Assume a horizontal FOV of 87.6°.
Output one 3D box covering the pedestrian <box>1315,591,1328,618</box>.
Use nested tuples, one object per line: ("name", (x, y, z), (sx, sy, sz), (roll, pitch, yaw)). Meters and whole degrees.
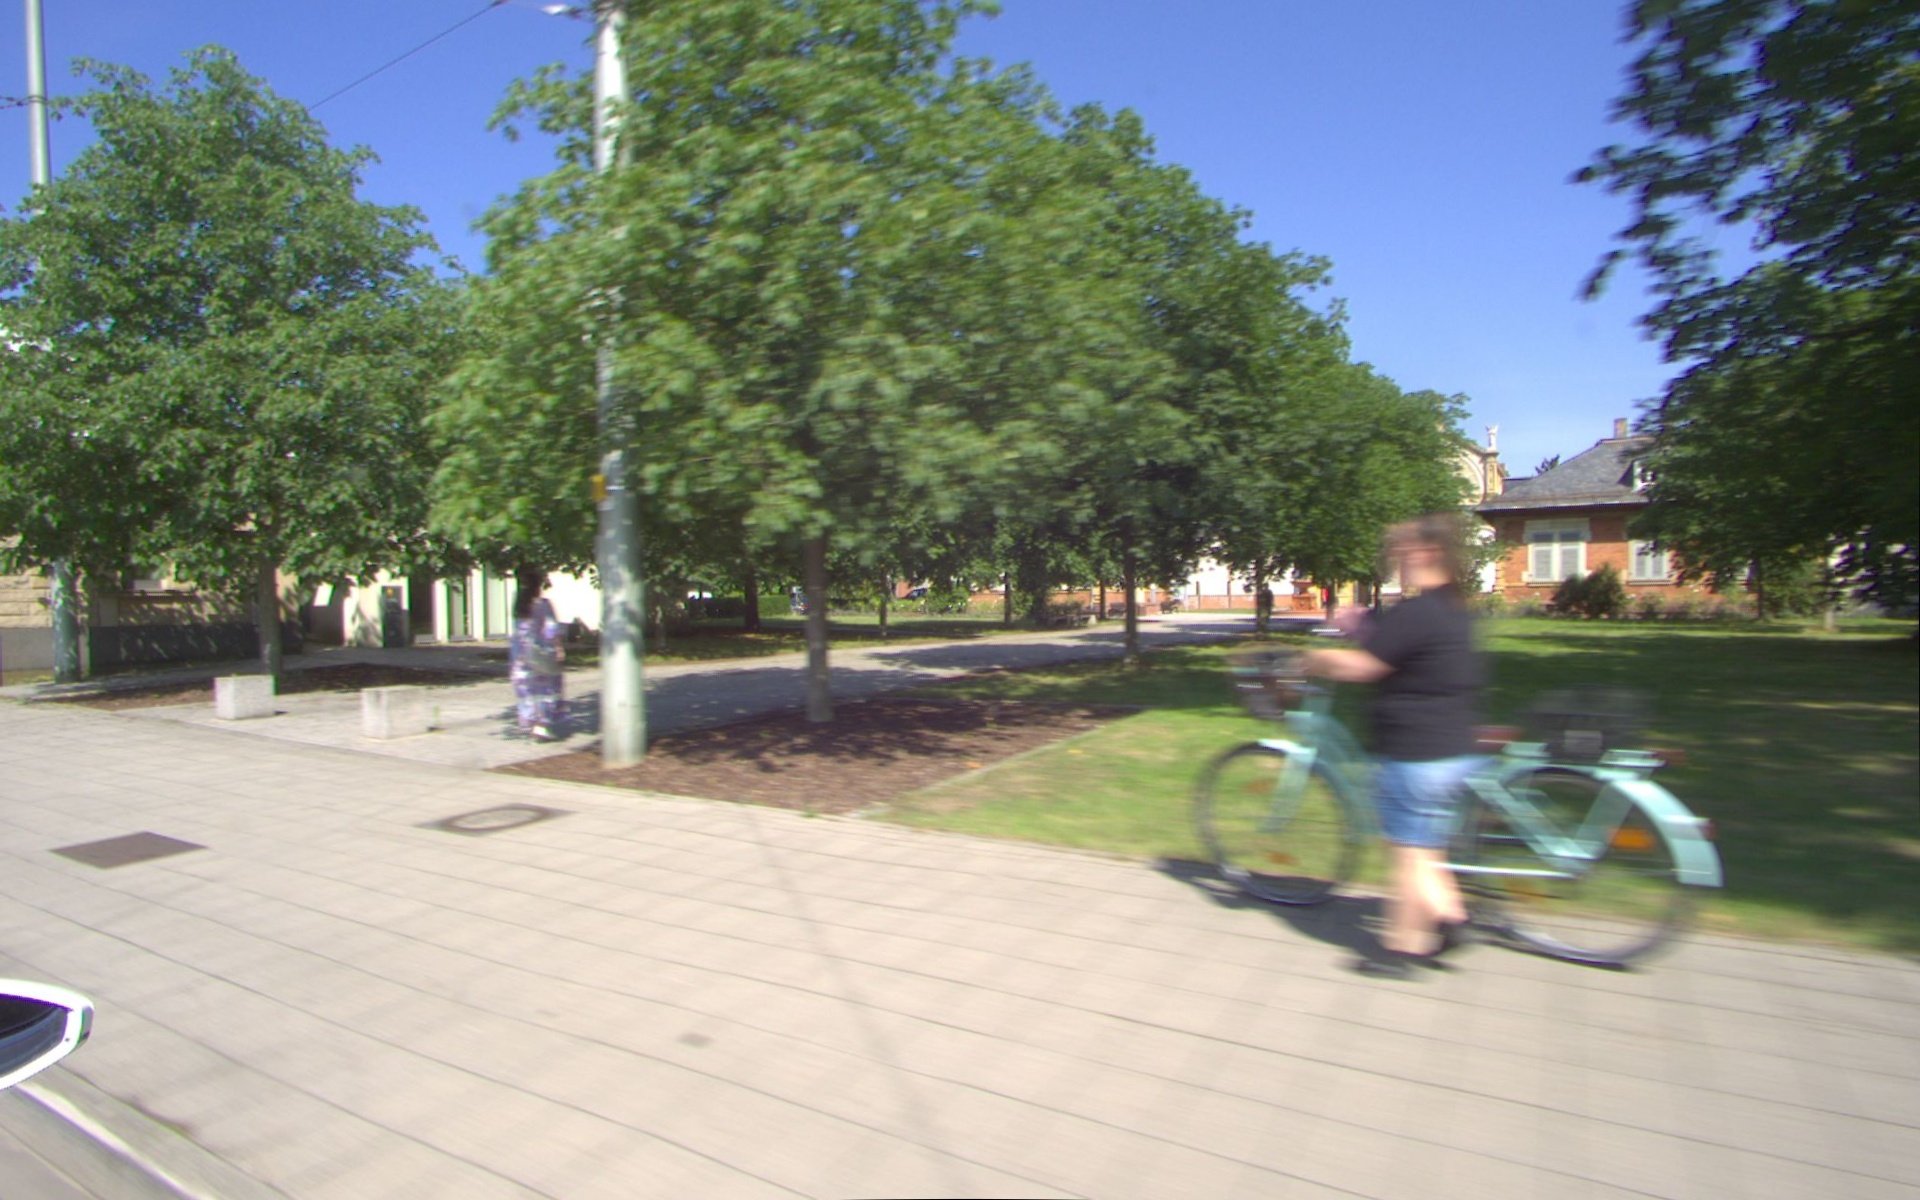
("pedestrian", (21.917, 0.277, 60.699), (0.734, 1.622, 0.619), (0, 1, 25))

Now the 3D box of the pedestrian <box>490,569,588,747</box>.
("pedestrian", (-4.172, 0.556, 9.967), (0.639, 1.705, 0.707), (-1, 1, -1))

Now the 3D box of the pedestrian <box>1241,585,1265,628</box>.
("pedestrian", (11.284, 0.231, 38.508), (0.679, 1.622, 0.863), (0, 1, 31))

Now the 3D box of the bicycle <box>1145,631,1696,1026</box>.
("bicycle", (1.610, 0.697, 3.739), (1.787, 1.126, 0.533), (-1, 2, 43))

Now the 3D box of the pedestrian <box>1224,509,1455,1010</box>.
("pedestrian", (1.341, 0.495, 3.509), (0.654, 1.570, 0.539), (0, 4, 32))
